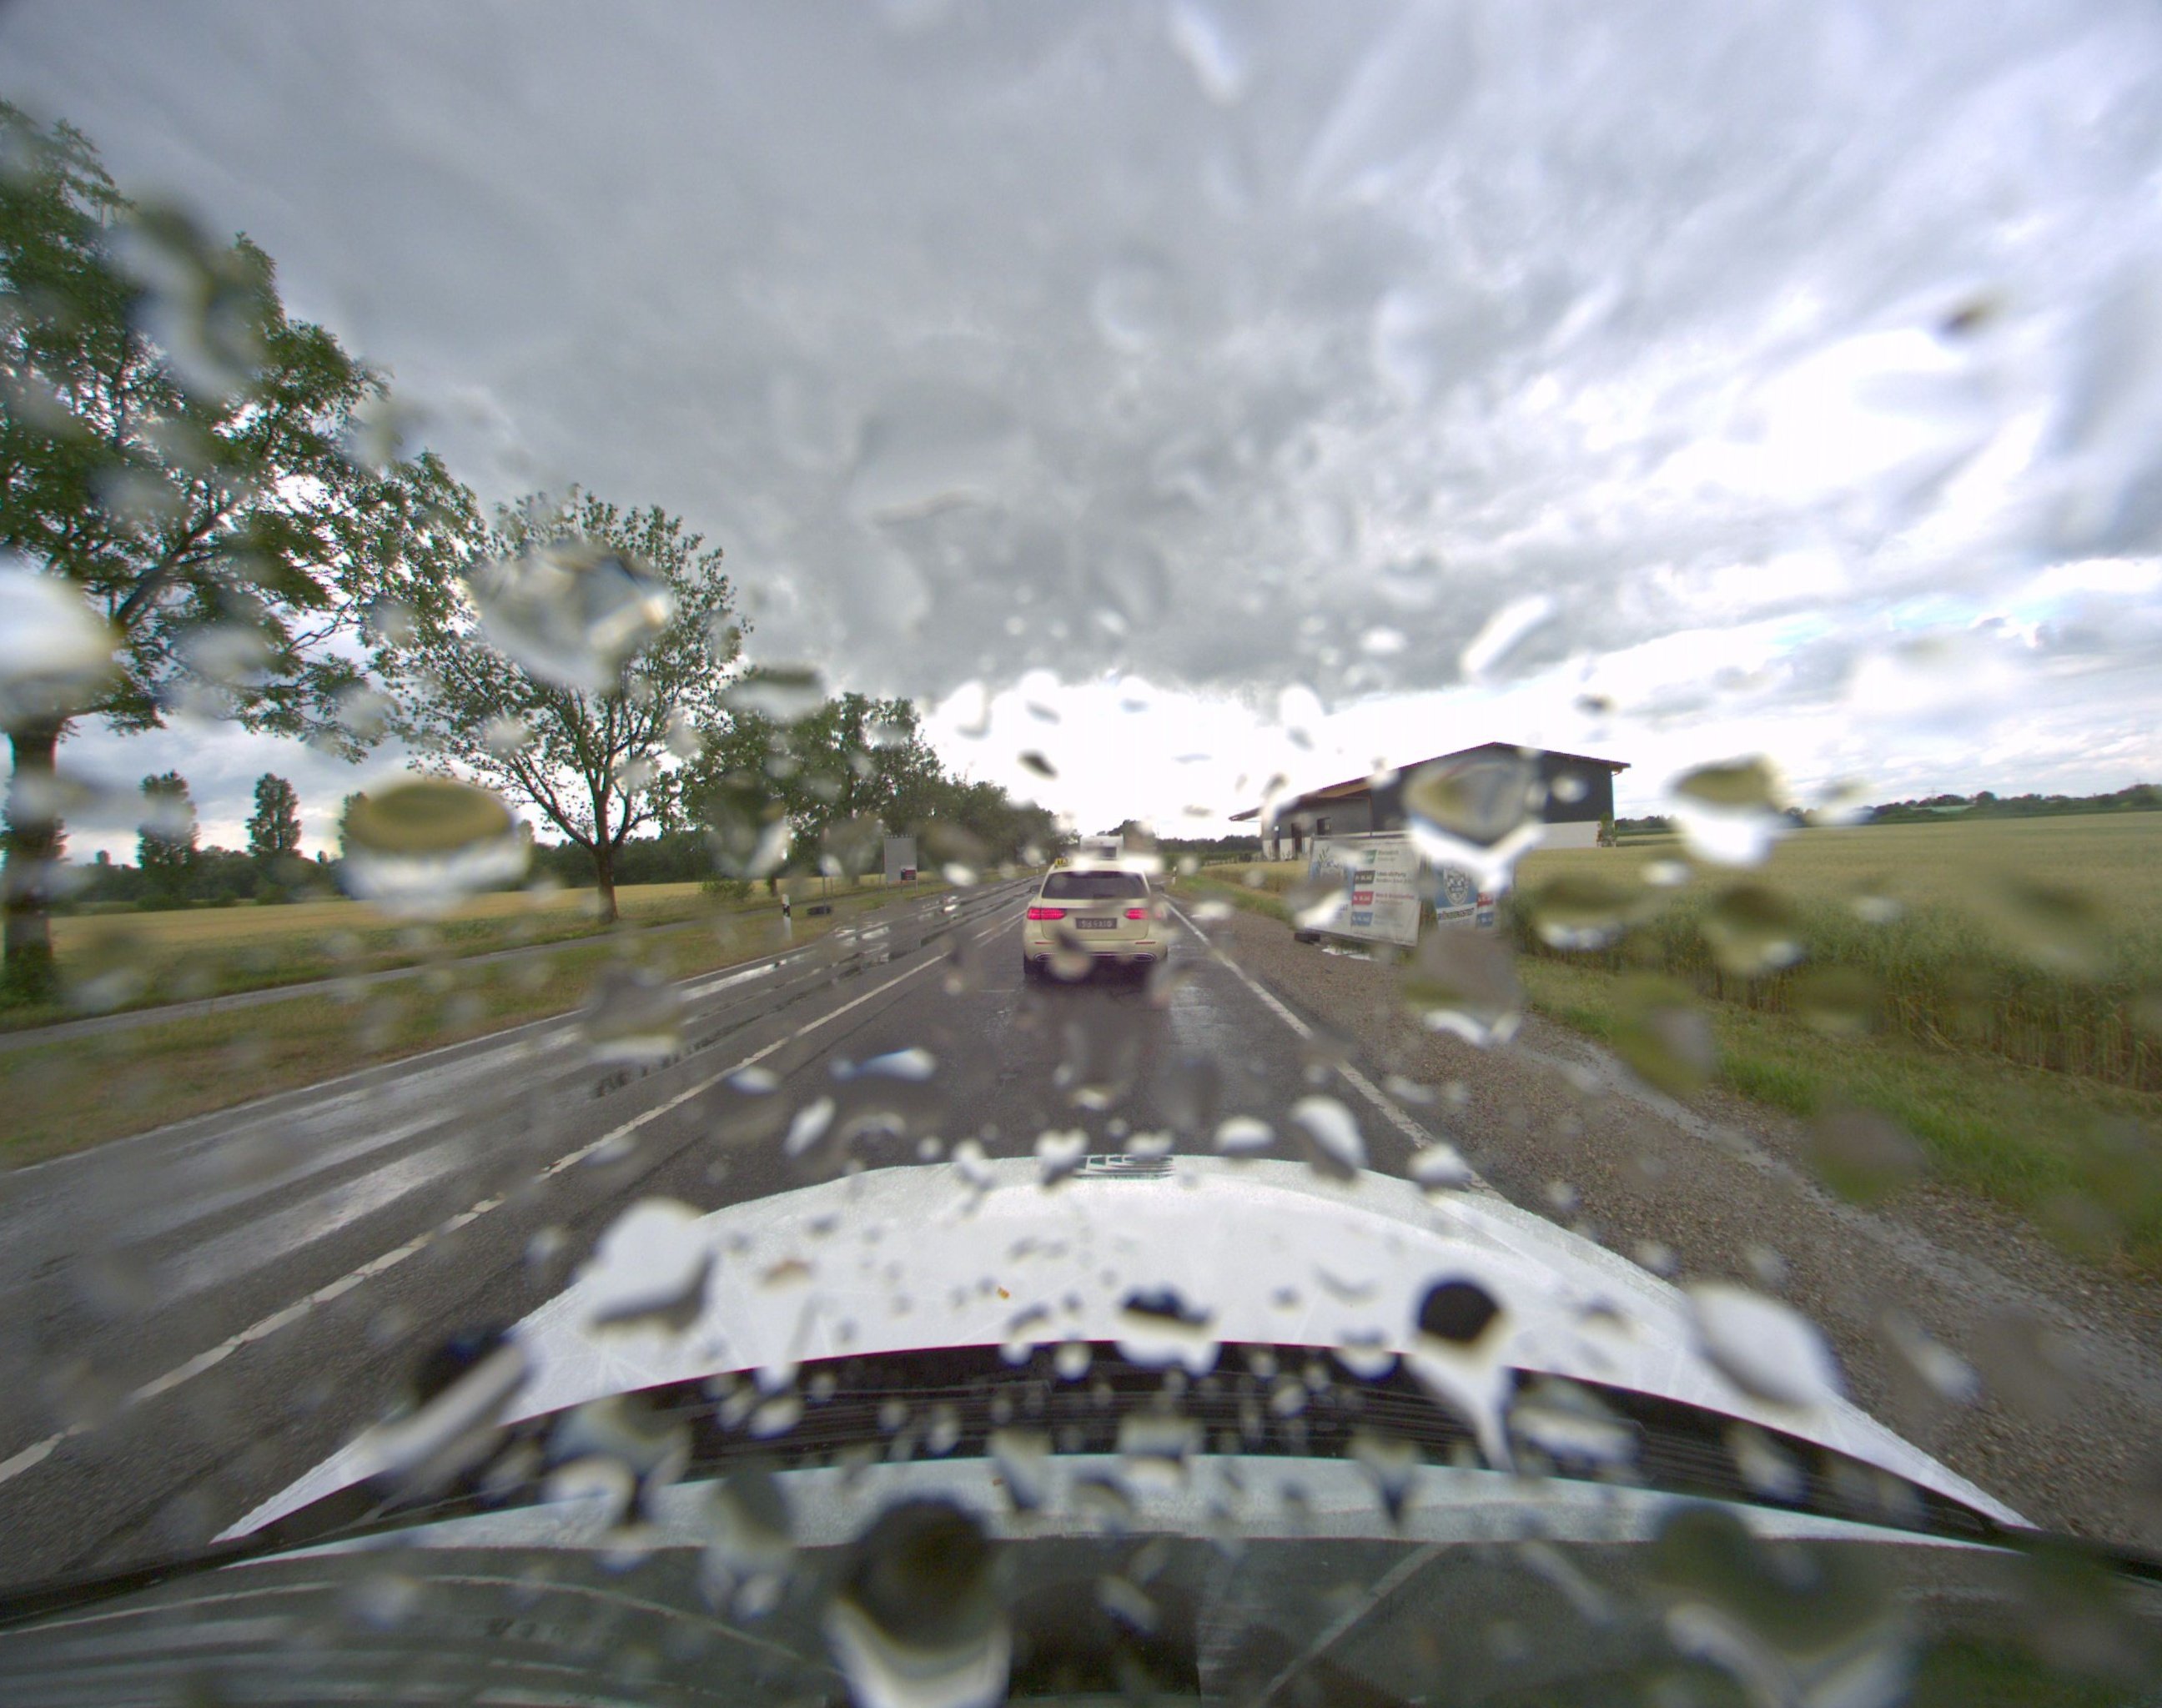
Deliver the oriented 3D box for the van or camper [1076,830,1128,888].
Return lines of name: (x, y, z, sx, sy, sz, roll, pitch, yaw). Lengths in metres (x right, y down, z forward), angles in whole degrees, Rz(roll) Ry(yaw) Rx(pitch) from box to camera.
van or camper: (1.243, 0.271, 44.739, 2.486, 2.831, 5.938, -3, 0, 3)

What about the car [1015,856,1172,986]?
car: (0.234, 0.779, 11.447, 1.790, 1.464, 4.033, -1, 0, 3)

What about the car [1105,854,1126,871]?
car: (3.316, 0.809, 79.070, 1.887, 1.590, 3.929, -2, 0, 2)

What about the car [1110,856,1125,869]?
car: (4.755, 1.103, 106.097, 1.886, 1.590, 3.932, -2, 0, 4)

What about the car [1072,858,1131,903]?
car: (0.721, 0.876, 28.603, 1.887, 1.429, 3.929, -2, 0, 2)
